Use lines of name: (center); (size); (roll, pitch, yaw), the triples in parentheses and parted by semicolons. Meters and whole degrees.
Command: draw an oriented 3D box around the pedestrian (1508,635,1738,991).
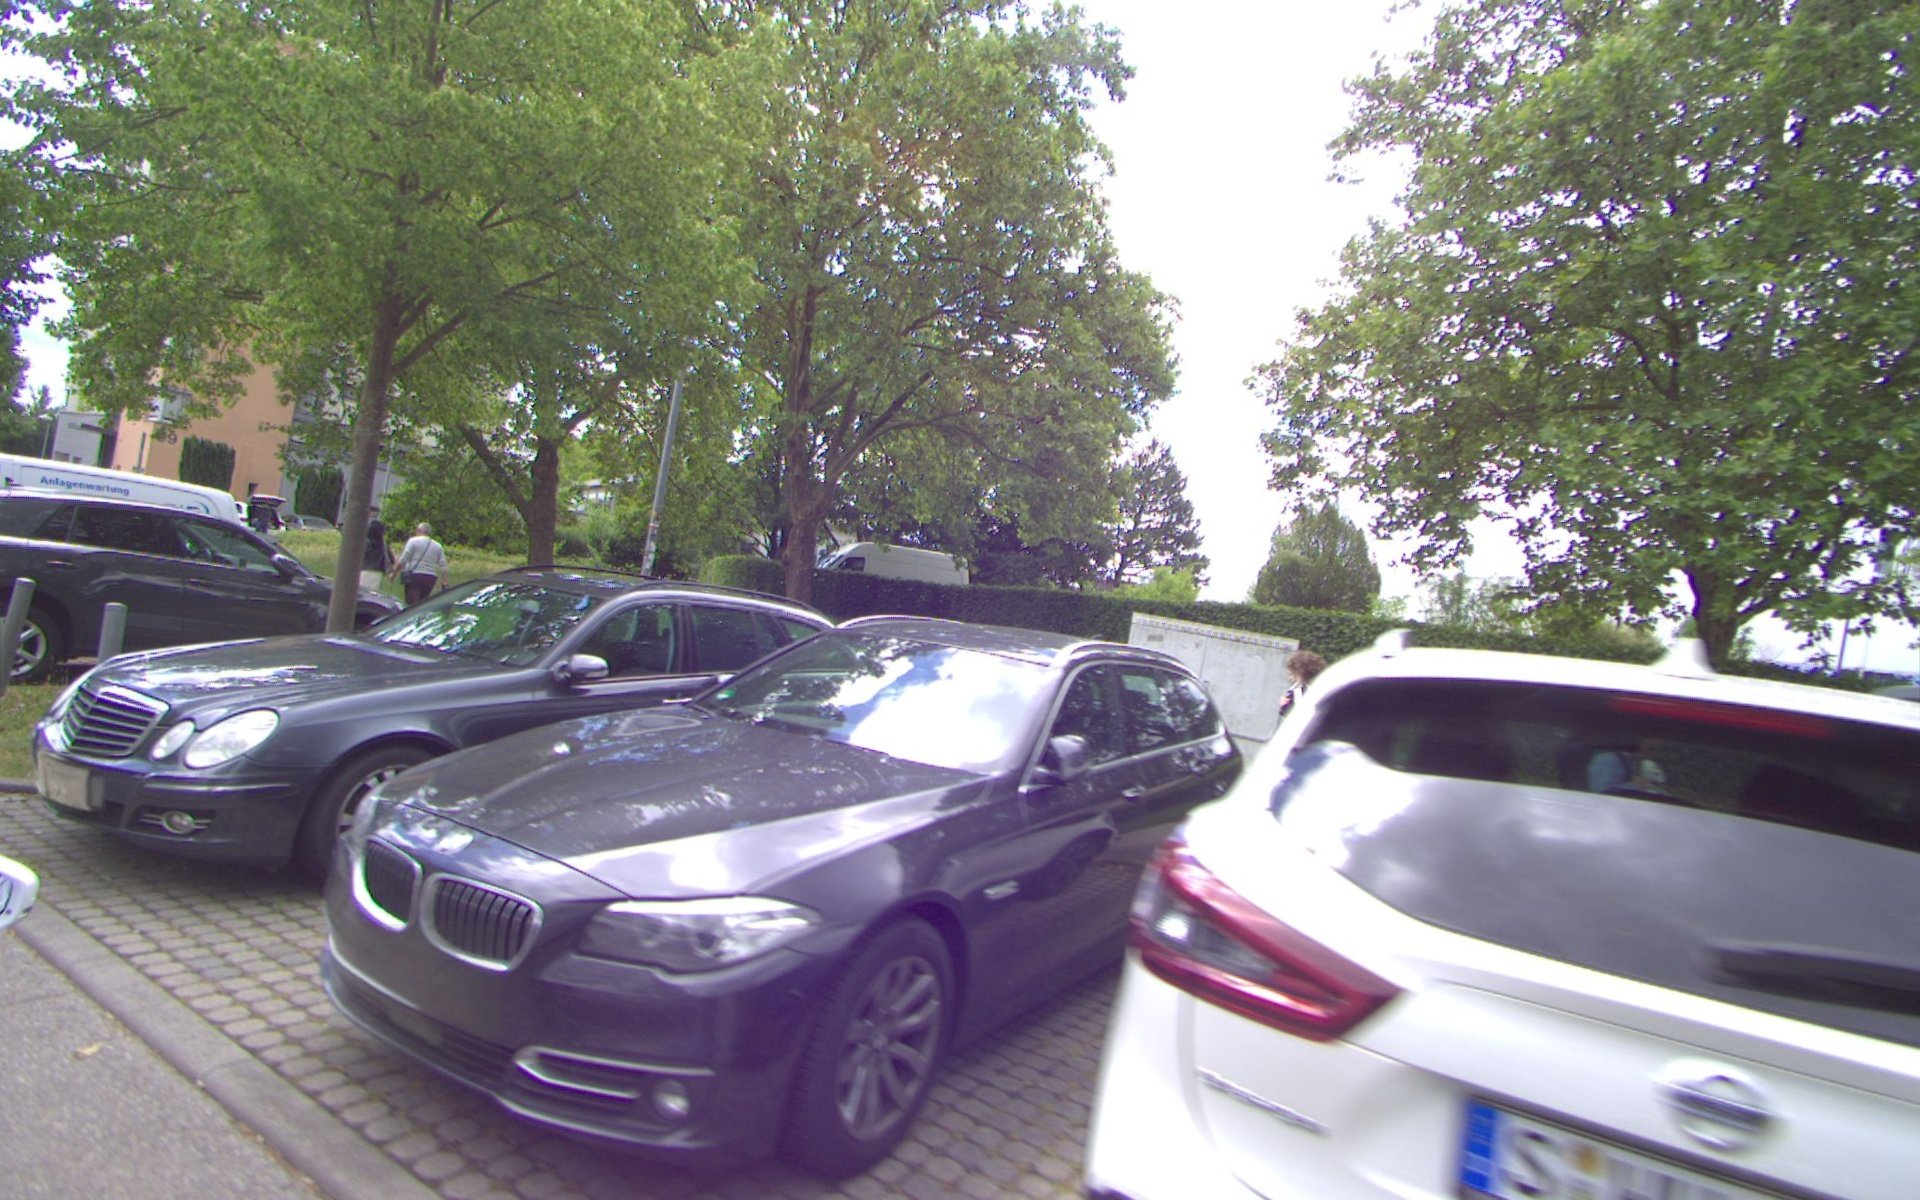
pedestrian: (3.890, 1.193, 5.956); (0.864, 1.813, 0.741); (8, -1, 33)

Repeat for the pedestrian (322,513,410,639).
pedestrian: (-8.521, -0.334, 14.437); (0.590, 1.676, 0.690); (8, -1, 31)

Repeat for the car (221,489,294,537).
car: (-30.545, -3.789, 43.700); (3.722, 1.680, 1.566); (8, 1, 39)

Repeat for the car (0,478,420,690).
car: (-7.206, -0.135, 8.860); (1.878, 1.538, 3.832); (8, 0, 27)

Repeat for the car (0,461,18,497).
car: (-47.106, -6.055, 47.028); (1.667, 1.612, 4.123); (8, -2, 37)

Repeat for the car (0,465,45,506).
car: (-43.189, -5.309, 44.321); (1.732, 1.534, 4.038); (8, -2, 42)

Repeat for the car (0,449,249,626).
car: (-11.452, -0.843, 11.683); (1.812, 1.854, 4.780); (8, 0, 31)

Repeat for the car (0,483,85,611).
car: (-14.107, -0.973, 12.711); (1.710, 1.620, 4.160); (8, -2, 31)

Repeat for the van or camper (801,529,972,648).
van or camper: (-2.239, -0.322, 30.682); (4.429, 2.830, 2.101); (10, -1, -26)

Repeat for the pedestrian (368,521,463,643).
pedestrian: (-8.142, -0.253, 15.052); (0.583, 1.676, 0.871); (8, -1, 31)

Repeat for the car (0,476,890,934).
car: (-2.511, 0.485, 5.960); (1.918, 1.509, 4.586); (7, -1, 28)

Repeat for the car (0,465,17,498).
car: (-50.346, -6.328, 50.650); (1.733, 1.534, 3.976); (8, -2, 44)

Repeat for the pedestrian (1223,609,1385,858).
pedestrian: (2.816, 1.061, 8.208); (0.864, 1.813, 0.741); (8, -1, 33)

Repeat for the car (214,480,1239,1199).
car: (-0.308, 0.722, 4.210); (1.851, 1.536, 3.999); (7, -2, 29)

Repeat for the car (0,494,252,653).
car: (-9.503, -0.343, 9.764); (1.812, 1.388, 3.829); (8, 0, 32)

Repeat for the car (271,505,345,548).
car: (-29.535, -3.324, 45.549); (3.722, 1.500, 1.635); (8, 0, 39)

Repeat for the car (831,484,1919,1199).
car: (1.590, 0.914, 2.751); (1.822, 1.666, 3.675); (8, -1, 34)
